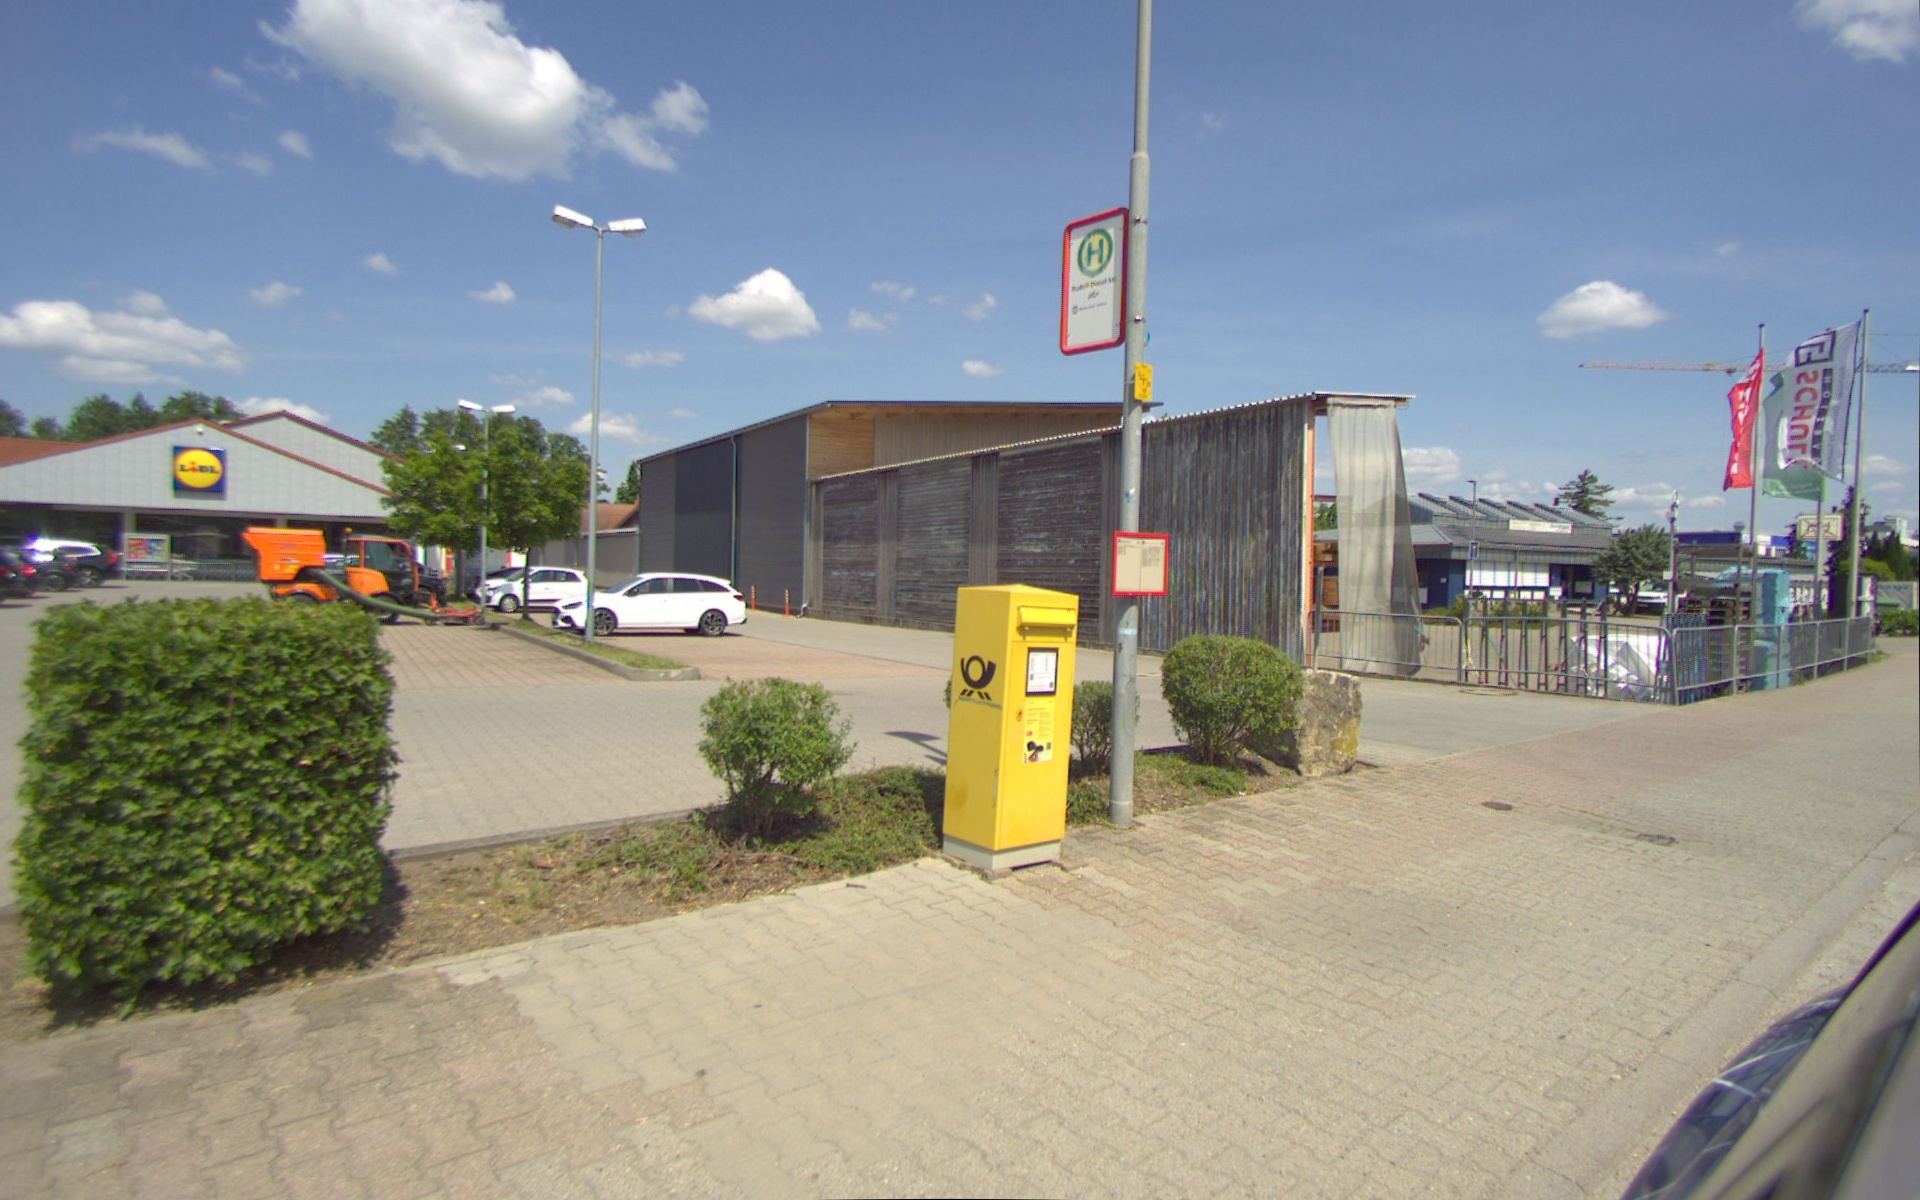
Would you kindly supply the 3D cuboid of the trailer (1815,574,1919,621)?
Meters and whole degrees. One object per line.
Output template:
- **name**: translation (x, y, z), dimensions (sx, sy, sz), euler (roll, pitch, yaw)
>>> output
- **trailer**: translation (43.362, -0.133, 48.063), dimensions (1.965, 2.040, 3.993), euler (5, -3, -41)

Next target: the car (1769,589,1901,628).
- **car**: translation (35.593, 0.318, 41.240), dimensions (1.785, 1.474, 3.853), euler (0, 1, -40)

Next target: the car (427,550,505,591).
- **car**: translation (-19.810, -1.184, 40.591), dimensions (2.623, 1.586, 1.225), euler (0, 2, -38)

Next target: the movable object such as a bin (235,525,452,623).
- **movable object such as a bin**: translation (-15.091, -0.616, 25.058), dimensions (4.429, 2.231, 1.688), euler (1, 2, -28)

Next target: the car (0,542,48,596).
- **car**: translation (-29.838, -0.937, 30.078), dimensions (3.927, 1.613, 1.584), euler (0, 1, -38)

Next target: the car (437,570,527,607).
- **car**: translation (-18.010, -0.425, 38.177), dimensions (2.762, 1.325, 1.494), euler (0, 1, -45)

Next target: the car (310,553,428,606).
- **car**: translation (-19.580, -0.721, 33.687), dimensions (3.273, 1.632, 1.514), euler (-2, 4, -28)

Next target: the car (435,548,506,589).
- **car**: translation (-20.921, -1.343, 43.262), dimensions (2.651, 1.708, 1.301), euler (0, 3, -29)

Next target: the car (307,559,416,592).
- **car**: translation (-24.462, -0.991, 41.519), dimensions (3.711, 1.187, 1.617), euler (1, 2, -27)

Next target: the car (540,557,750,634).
- **car**: translation (-7.468, -0.089, 24.124), dimensions (4.352, 1.683, 2.001), euler (1, 1, -34)

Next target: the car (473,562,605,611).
- **car**: translation (-14.447, -0.460, 34.808), dimensions (3.926, 1.593, 1.585), euler (0, 1, -37)

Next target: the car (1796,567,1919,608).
- **car**: translation (41.129, -0.611, 46.279), dimensions (1.771, 1.653, 4.219), euler (-3, 4, -42)

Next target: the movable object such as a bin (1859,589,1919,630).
- **movable object such as a bin**: translation (33.555, 0.332, 36.557), dimensions (1.247, 1.477, 1.045), euler (0, 0, 11)

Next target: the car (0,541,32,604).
- **car**: translation (-27.062, -0.761, 26.421), dimensions (3.920, 1.651, 1.587), euler (0, 1, -30)

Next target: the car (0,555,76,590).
- **car**: translation (-32.175, -0.941, 34.560), dimensions (2.941, 1.139, 1.583), euler (0, 1, -40)

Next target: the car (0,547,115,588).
- **car**: translation (-33.612, -1.189, 37.162), dimensions (3.929, 1.428, 1.583), euler (0, 1, -41)
